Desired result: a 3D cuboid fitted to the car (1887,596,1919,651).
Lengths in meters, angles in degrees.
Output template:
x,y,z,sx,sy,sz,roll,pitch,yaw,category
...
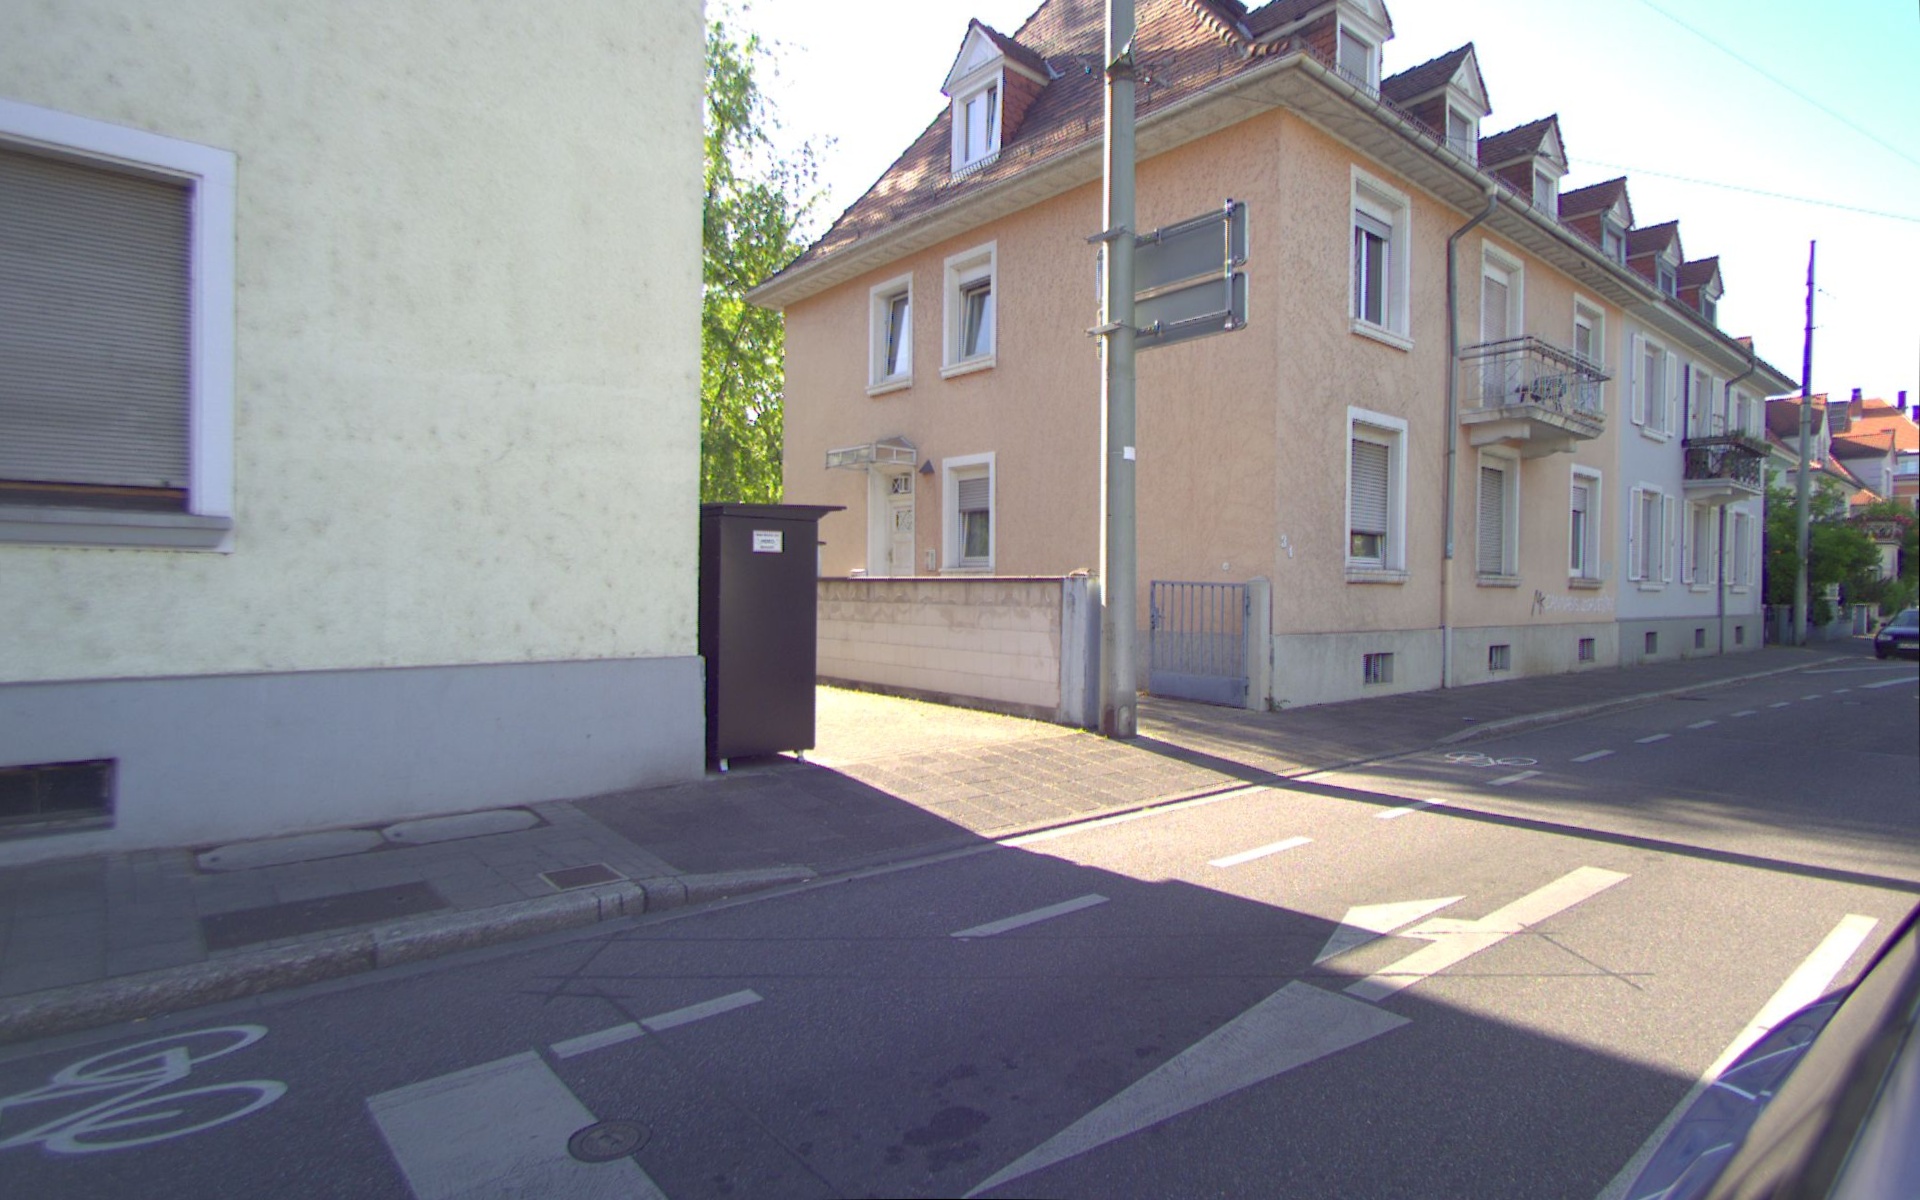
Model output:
x,y,z,sx,sy,sz,roll,pitch,yaw,category
26.709,0.620,27.399,4.347,1.425,1.866,0,1,-41,car
